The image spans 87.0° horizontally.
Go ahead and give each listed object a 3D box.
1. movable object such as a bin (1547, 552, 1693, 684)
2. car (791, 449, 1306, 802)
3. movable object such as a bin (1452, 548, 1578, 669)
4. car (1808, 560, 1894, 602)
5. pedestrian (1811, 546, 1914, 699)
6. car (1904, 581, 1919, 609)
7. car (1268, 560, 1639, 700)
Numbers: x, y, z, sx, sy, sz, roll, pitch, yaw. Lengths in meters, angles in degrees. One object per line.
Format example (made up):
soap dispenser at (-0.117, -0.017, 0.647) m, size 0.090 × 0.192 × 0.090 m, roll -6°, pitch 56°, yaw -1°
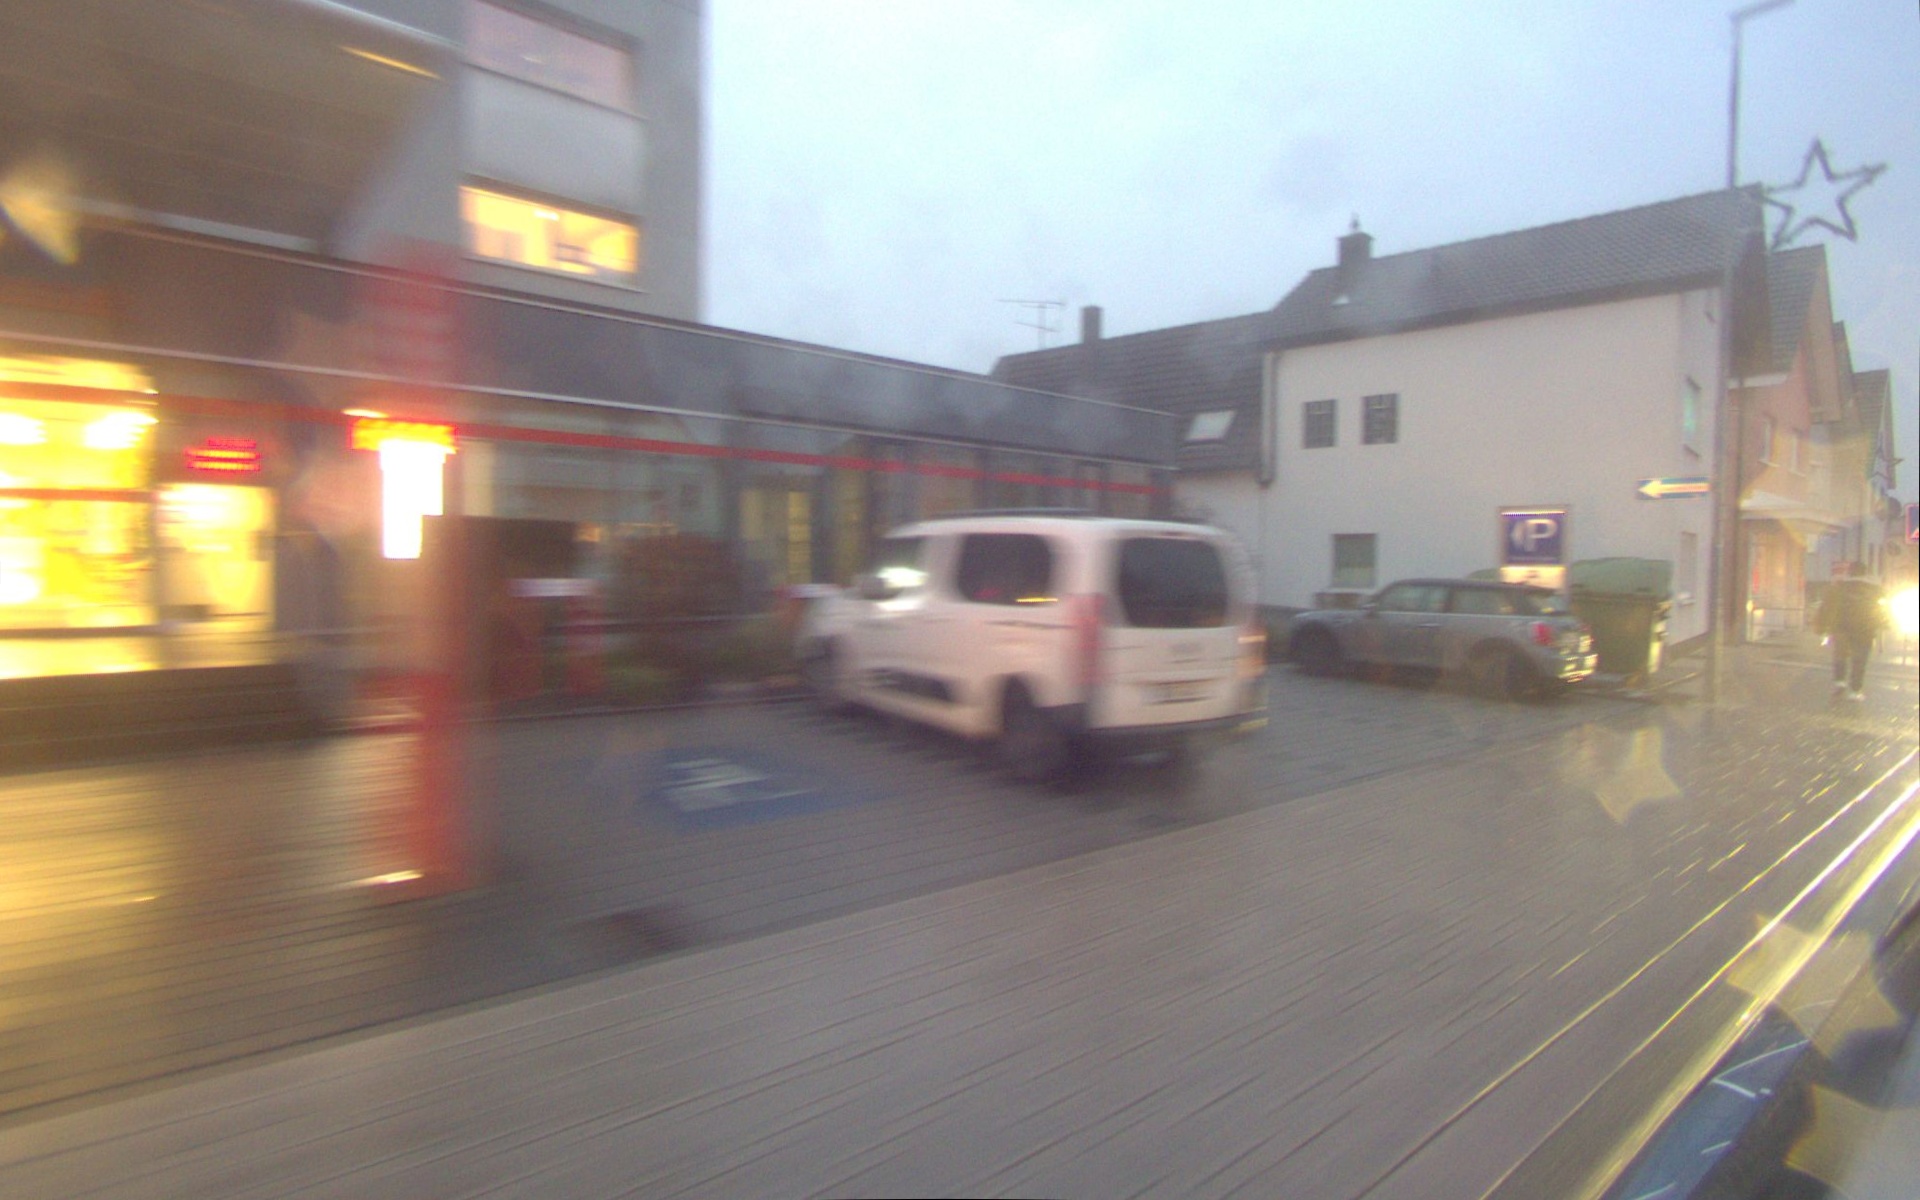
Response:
movable object such as a bin at (9.134, 0.206, 14.013) m, size 1.241 × 1.664 × 1.394 m, roll 0°, pitch 3°, yaw -45°
car at (0.412, 0.027, 8.186) m, size 1.961 × 2.074 × 4.108 m, roll 0°, pitch 3°, yaw -34°
movable object such as a bin at (8.247, 0.093, 15.050) m, size 1.166 × 1.664 × 1.286 m, roll 0°, pitch 4°, yaw -45°
car at (33.437, -0.729, 37.943) m, size 4.617 × 1.504 × 1.932 m, roll -2°, pitch 1°, yaw -42°
pedestrian at (11.918, 0.268, 13.368) m, size 0.990 × 1.913 × 0.967 m, roll 0°, pitch 0°, yaw -45°
car at (54.640, -0.287, 56.643) m, size 1.986 × 1.533 × 3.953 m, roll 0°, pitch 1°, yaw 33°
car at (6.360, 0.252, 13.419) m, size 1.879 × 1.504 × 3.997 m, roll -1°, pitch 3°, yaw -39°
